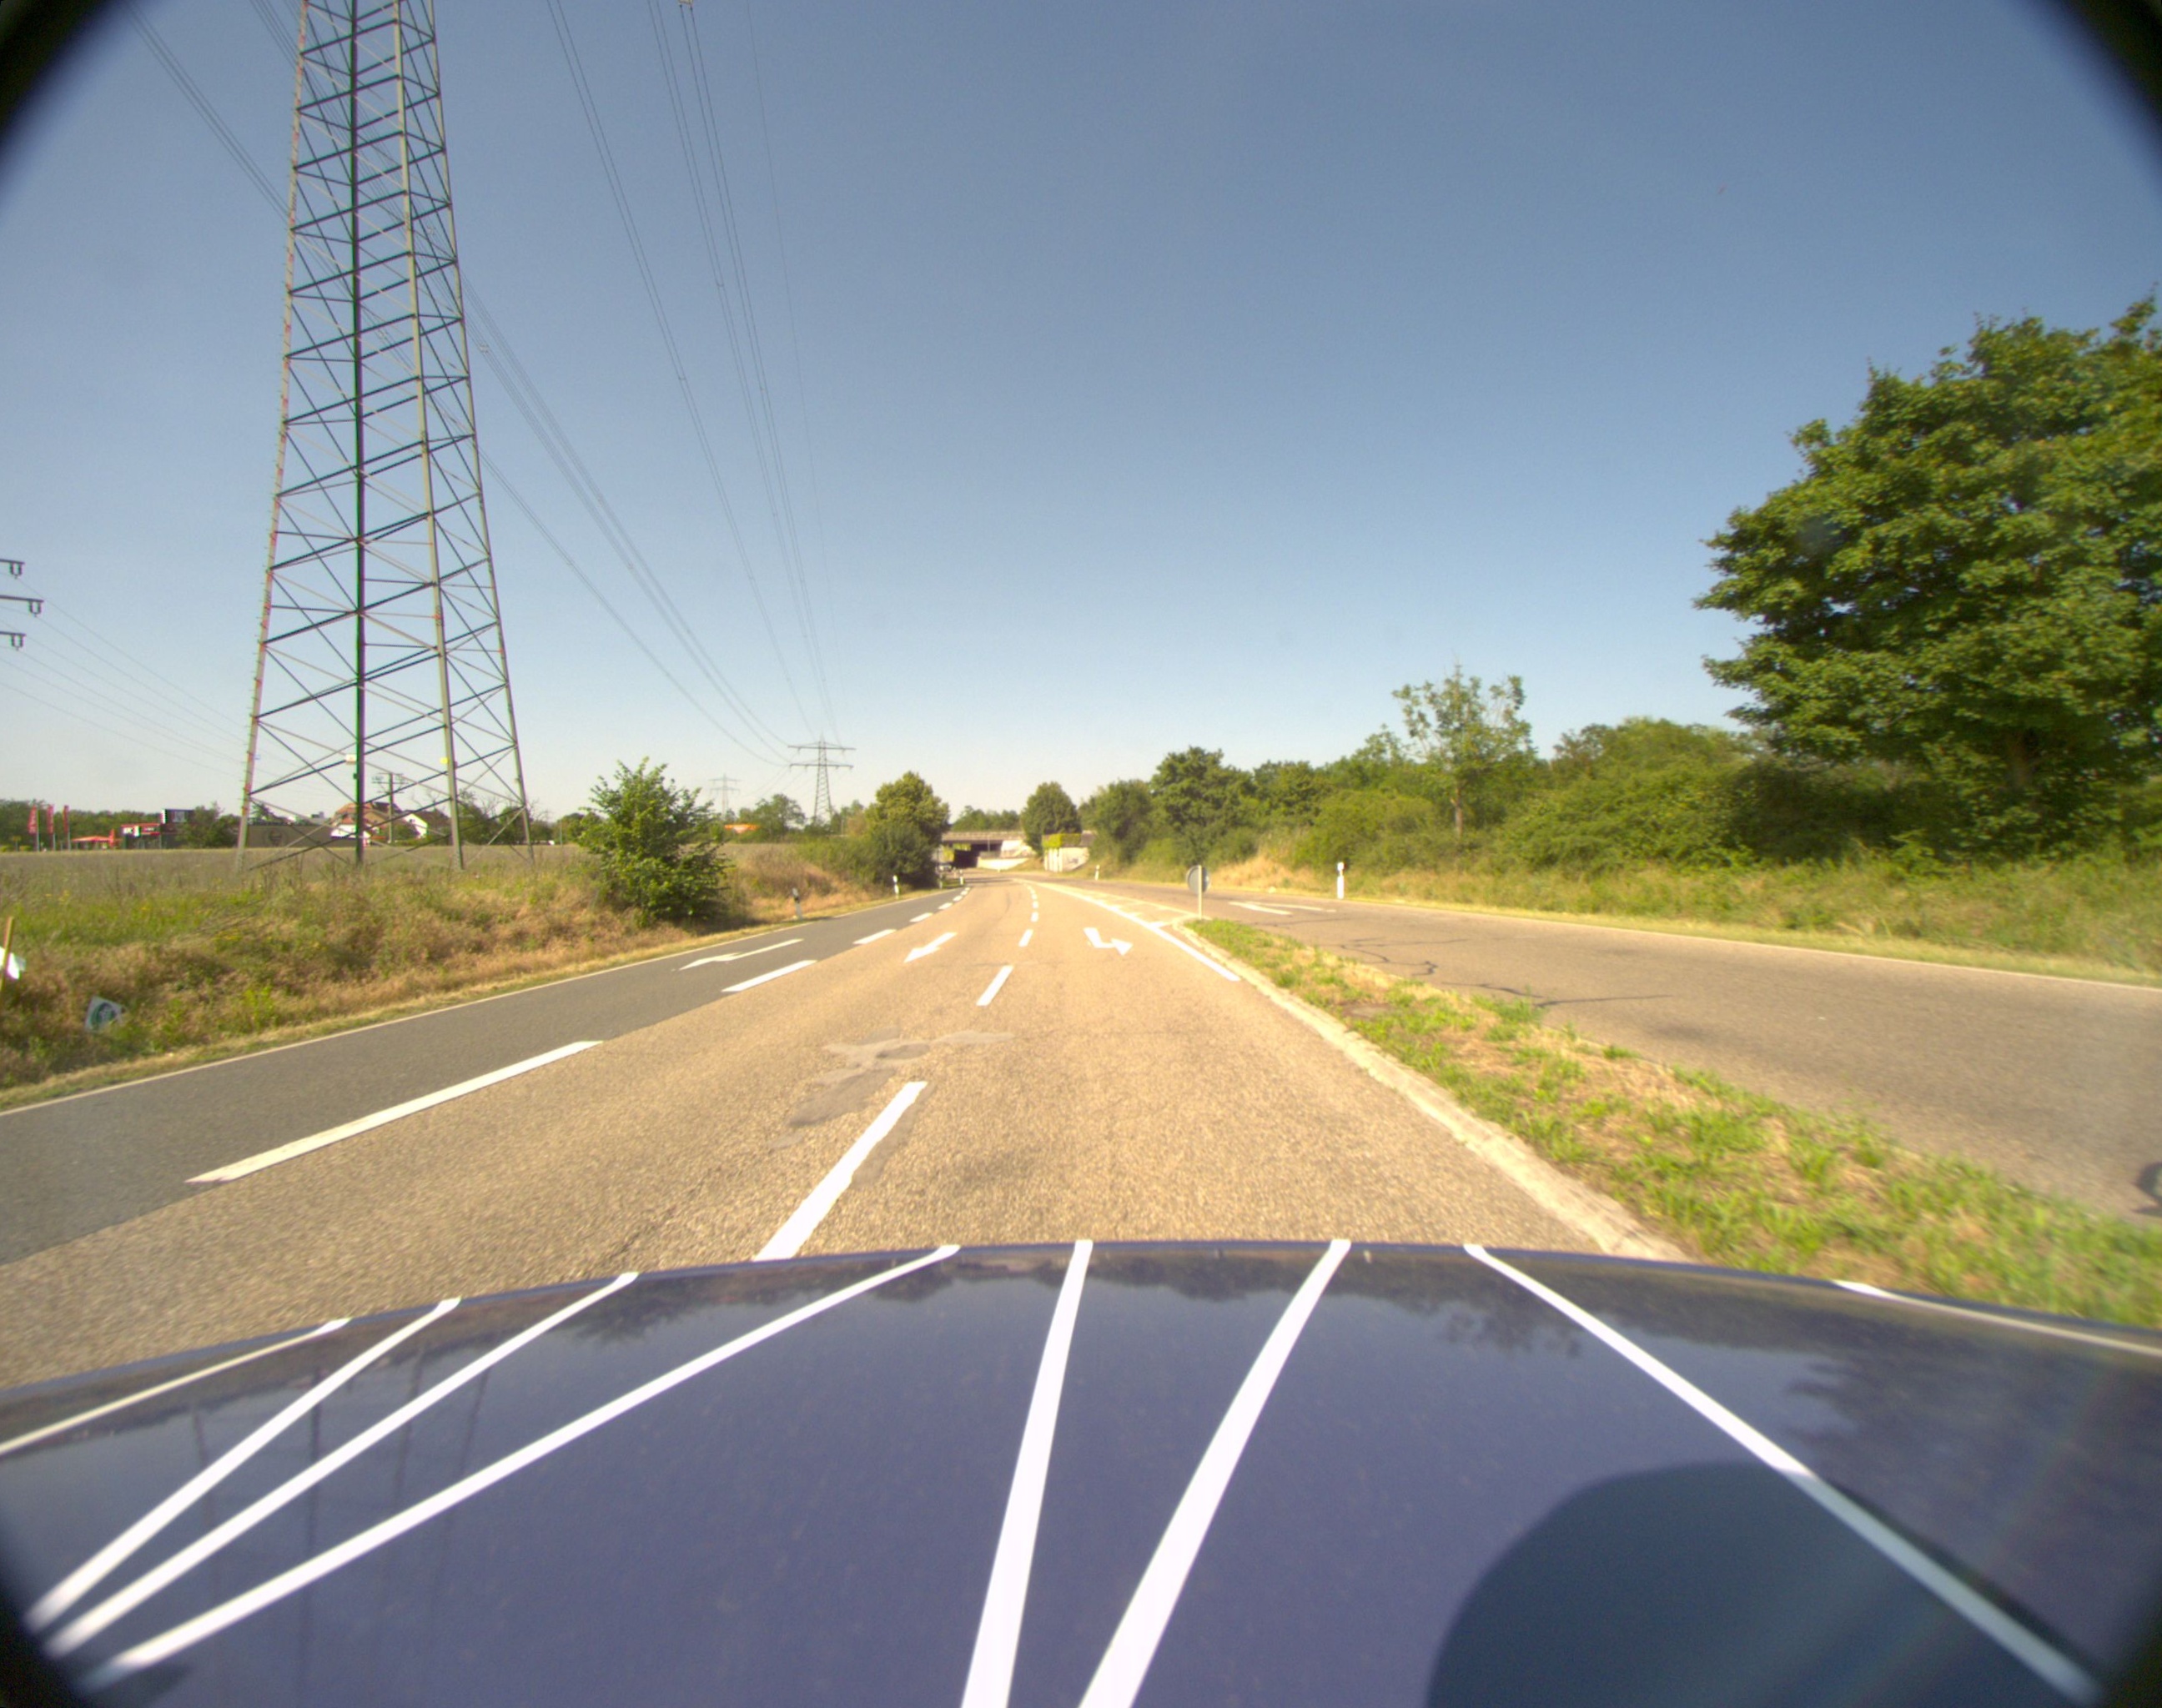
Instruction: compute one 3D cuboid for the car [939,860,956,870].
[{"bbox_3d":[-21.827,1.763,124.240,1.863,1.609,3.640,-2,0,-24],"label":"car"}]
